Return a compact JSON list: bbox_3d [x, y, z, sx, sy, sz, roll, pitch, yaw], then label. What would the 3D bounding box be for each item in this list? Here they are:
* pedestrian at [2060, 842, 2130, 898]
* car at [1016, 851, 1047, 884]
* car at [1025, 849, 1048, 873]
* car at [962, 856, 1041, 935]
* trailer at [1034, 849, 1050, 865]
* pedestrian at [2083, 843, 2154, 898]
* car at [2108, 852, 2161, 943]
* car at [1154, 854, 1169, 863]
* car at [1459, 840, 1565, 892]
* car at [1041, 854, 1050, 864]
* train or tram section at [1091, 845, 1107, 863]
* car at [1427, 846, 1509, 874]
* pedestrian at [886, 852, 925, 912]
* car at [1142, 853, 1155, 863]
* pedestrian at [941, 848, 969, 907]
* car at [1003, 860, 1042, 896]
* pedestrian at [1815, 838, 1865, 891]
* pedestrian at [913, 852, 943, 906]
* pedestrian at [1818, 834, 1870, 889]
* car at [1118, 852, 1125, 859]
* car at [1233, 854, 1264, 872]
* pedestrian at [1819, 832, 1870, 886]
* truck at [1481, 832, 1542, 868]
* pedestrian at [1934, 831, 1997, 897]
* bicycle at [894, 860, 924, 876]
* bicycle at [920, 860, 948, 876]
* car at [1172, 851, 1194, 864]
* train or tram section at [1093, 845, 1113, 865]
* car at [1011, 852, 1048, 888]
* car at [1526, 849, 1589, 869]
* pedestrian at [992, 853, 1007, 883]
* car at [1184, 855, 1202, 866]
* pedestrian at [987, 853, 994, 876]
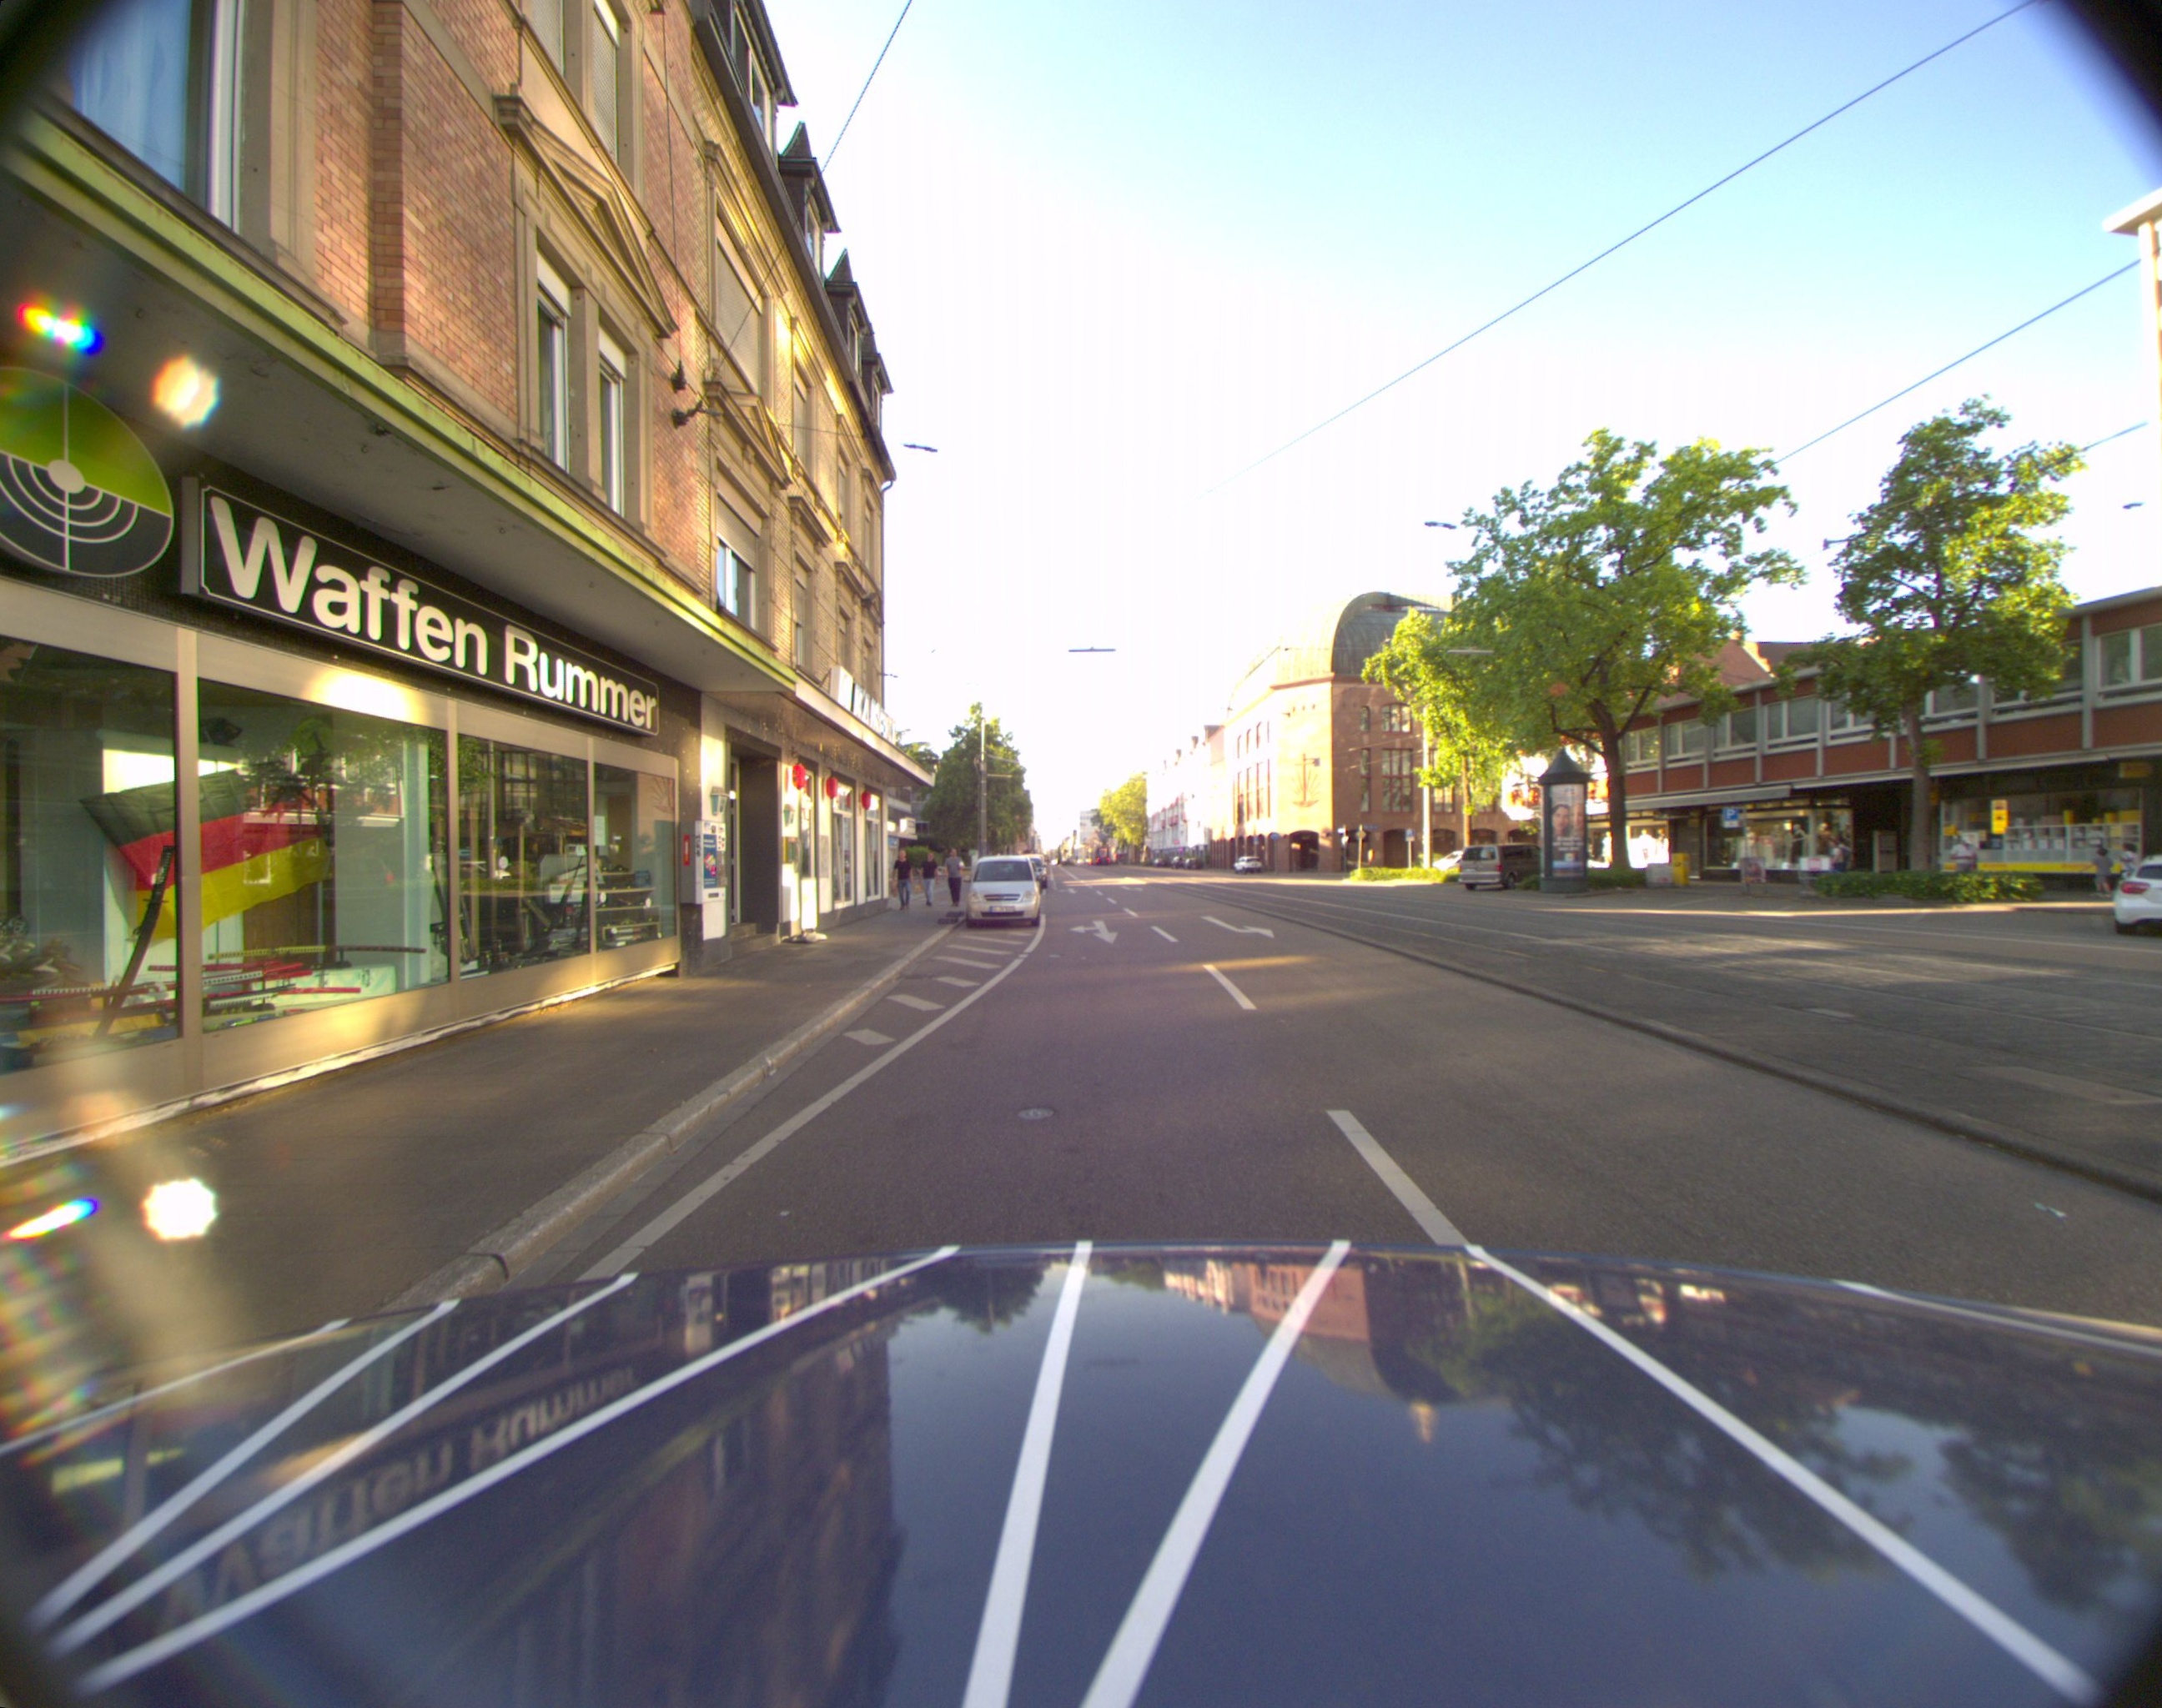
[{"bbox_3d":[27.316,0.425,20.486,0.689,1.488,0.900,-1,0,-5],"label":"pedestrian"},{"bbox_3d":[-2.906,0.778,45.259,1.680,1.797,4.247,-2,0,-3],"label":"car"},{"bbox_3d":[-4.051,0.620,69.919,1.882,2.009,4.904,-2,0,-2],"label":"car"},{"bbox_3d":[-1.815,0.885,18.158,1.642,1.605,3.943,-1,0,-4],"label":"car"},{"bbox_3d":[-5.360,0.429,104.943,1.784,2.136,5.315,-2,0,0],"label":"trailer"},{"bbox_3d":[28.032,0.431,20.543,0.689,1.462,0.900,-1,0,-5],"label":"pedestrian"},{"bbox_3d":[20.637,0.750,14.026,4.276,1.421,1.762,-3,1,-33],"label":"car"},{"bbox_3d":[13.041,0.703,123.175,1.829,1.500,4.559,-2,0,-2],"label":"car"},{"bbox_3d":[18.640,0.452,32.758,5.130,1.918,1.849,-3,2,-34],"label":"car"},{"bbox_3d":[-5.775,0.806,123.949,1.420,1.425,3.871,-2,0,-3],"label":"car"},{"bbox_3d":[3.604,0.051,154.813,2.683,3.530,11.123,0,0,-3],"label":"train or tram section"},{"bbox_3d":[28.535,0.420,56.148,4.993,1.957,2.130,-1,3,-4],"label":"car"},{"bbox_3d":[-5.168,0.799,22.388,0.903,1.703,1.032,2,0,-3],"label":"pedestrian"},{"bbox_3d":[12.299,0.671,139.057,1.931,1.787,4.383,-1,0,1],"label":"car"},{"bbox_3d":[-4.119,0.753,24.970,0.796,1.888,1.032,0,1,-3],"label":"pedestrian"},{"bbox_3d":[-2.691,1.071,35.250,1.642,1.484,3.793,-3,0,-4],"label":"car"},{"bbox_3d":[27.129,0.364,27.165,0.919,1.867,0.900,-1,1,-5],"label":"pedestrian"},{"bbox_3d":[-4.956,0.796,24.731,0.813,1.746,1.032,0,1,-3],"label":"pedestrian"},{"bbox_3d":[26.526,0.262,26.415,0.919,1.867,0.900,-1,1,-5],"label":"pedestrian"},{"bbox_3d":[11.153,0.344,209.572,1.861,1.914,3.999,0,0,-1],"label":"car"},{"bbox_3d":[15.535,0.790,70.684,1.600,1.581,4.276,-3,0,-4],"label":"car"},{"bbox_3d":[28.118,0.185,27.988,0.996,1.937,0.900,-1,1,-5],"label":"pedestrian"},{"bbox_3d":[34.216,-0.282,60.526,1.856,2.747,4.528,-1,0,-7],"label":"truck"},{"bbox_3d":[25.744,0.296,22.141,0.917,1.867,0.902,0,1,26],"label":"pedestrian"},{"bbox_3d":[-11.931,0.974,52.703,2.020,1.089,0.637,1,0,-9],"label":"bicycle"},{"bbox_3d":[-10.389,0.999,53.611,1.886,1.090,0.469,0,1,-4],"label":"bicycle"},{"bbox_3d":[13.965,0.423,104.309,1.964,1.690,4.559,-2,0,-4],"label":"car"},{"bbox_3d":[4.083,0.095,143.869,2.683,3.530,12.837,0,0,-3],"label":"train or tram section"},{"bbox_3d":[-2.686,0.805,40.540,1.825,1.747,4.473,-2,1,-3],"label":"car"},{"bbox_3d":[38.037,0.379,60.762,1.856,1.564,4.528,-1,0,-7],"label":"car"},{"bbox_3d":[-4.763,0.785,44.528,0.789,1.727,0.945,-1,1,-3],"label":"pedestrian"},{"bbox_3d":[14.341,0.837,97.494,1.646,1.392,3.682,-2,0,-2],"label":"car"},{"bbox_3d":[-6.793,0.798,57.053,0.494,1.703,0.437,2,1,-3],"label":"pedestrian"}]
